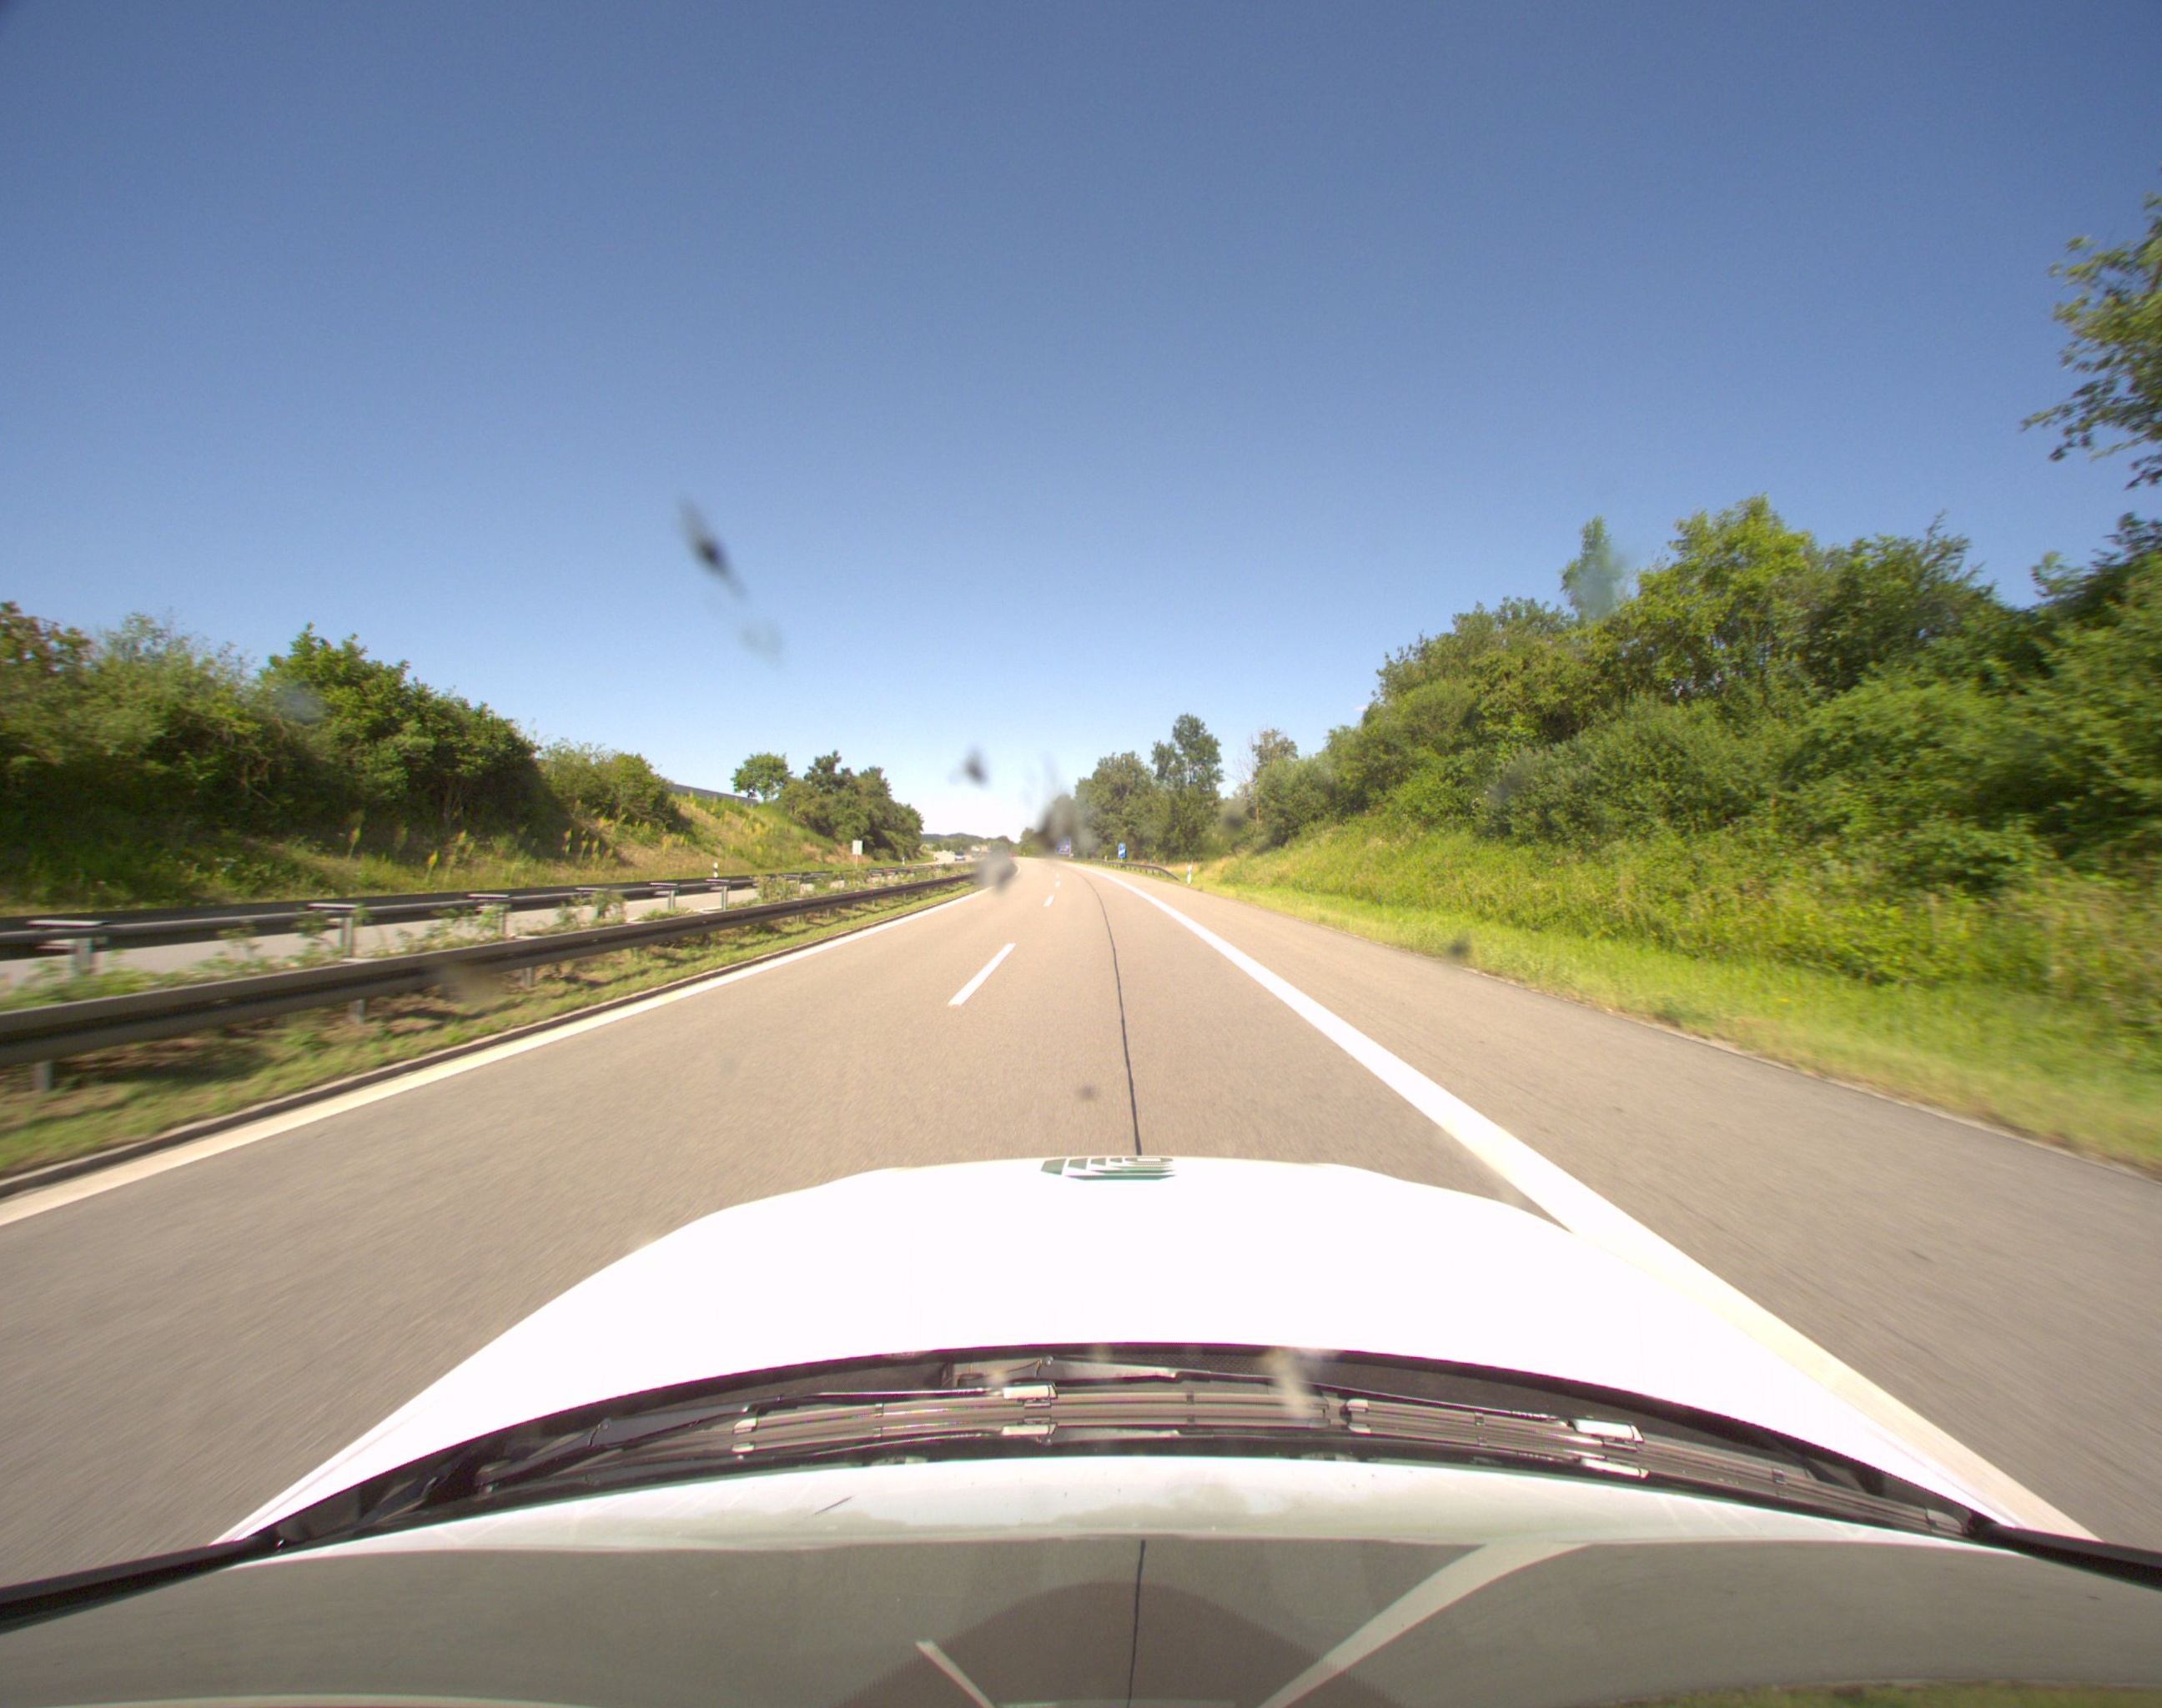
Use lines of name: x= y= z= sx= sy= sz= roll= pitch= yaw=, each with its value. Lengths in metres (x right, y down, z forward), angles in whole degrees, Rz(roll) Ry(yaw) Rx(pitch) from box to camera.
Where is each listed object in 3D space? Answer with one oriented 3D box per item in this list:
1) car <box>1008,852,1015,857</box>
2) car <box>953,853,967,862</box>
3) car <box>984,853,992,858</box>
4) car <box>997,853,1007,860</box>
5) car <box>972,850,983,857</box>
car: x=-21.324 y=0.250 z=249.943 sx=1.783 sy=1.431 sz=3.988 roll=5 pitch=-1 yaw=-8
car: x=-20.741 y=0.552 z=139.595 sx=1.815 sy=1.480 sz=4.679 roll=1 pitch=0 yaw=-3
car: x=-28.238 y=0.452 z=247.479 sx=1.995 sy=1.750 sz=3.984 roll=-1 pitch=0 yaw=-12
car: x=-20.409 y=0.559 z=210.254 sx=2.063 sy=1.625 sz=3.983 roll=1 pitch=-2 yaw=-11
car: x=-23.364 y=-0.122 z=183.773 sx=2.064 sy=1.679 sz=4.880 roll=-1 pitch=0 yaw=-4
